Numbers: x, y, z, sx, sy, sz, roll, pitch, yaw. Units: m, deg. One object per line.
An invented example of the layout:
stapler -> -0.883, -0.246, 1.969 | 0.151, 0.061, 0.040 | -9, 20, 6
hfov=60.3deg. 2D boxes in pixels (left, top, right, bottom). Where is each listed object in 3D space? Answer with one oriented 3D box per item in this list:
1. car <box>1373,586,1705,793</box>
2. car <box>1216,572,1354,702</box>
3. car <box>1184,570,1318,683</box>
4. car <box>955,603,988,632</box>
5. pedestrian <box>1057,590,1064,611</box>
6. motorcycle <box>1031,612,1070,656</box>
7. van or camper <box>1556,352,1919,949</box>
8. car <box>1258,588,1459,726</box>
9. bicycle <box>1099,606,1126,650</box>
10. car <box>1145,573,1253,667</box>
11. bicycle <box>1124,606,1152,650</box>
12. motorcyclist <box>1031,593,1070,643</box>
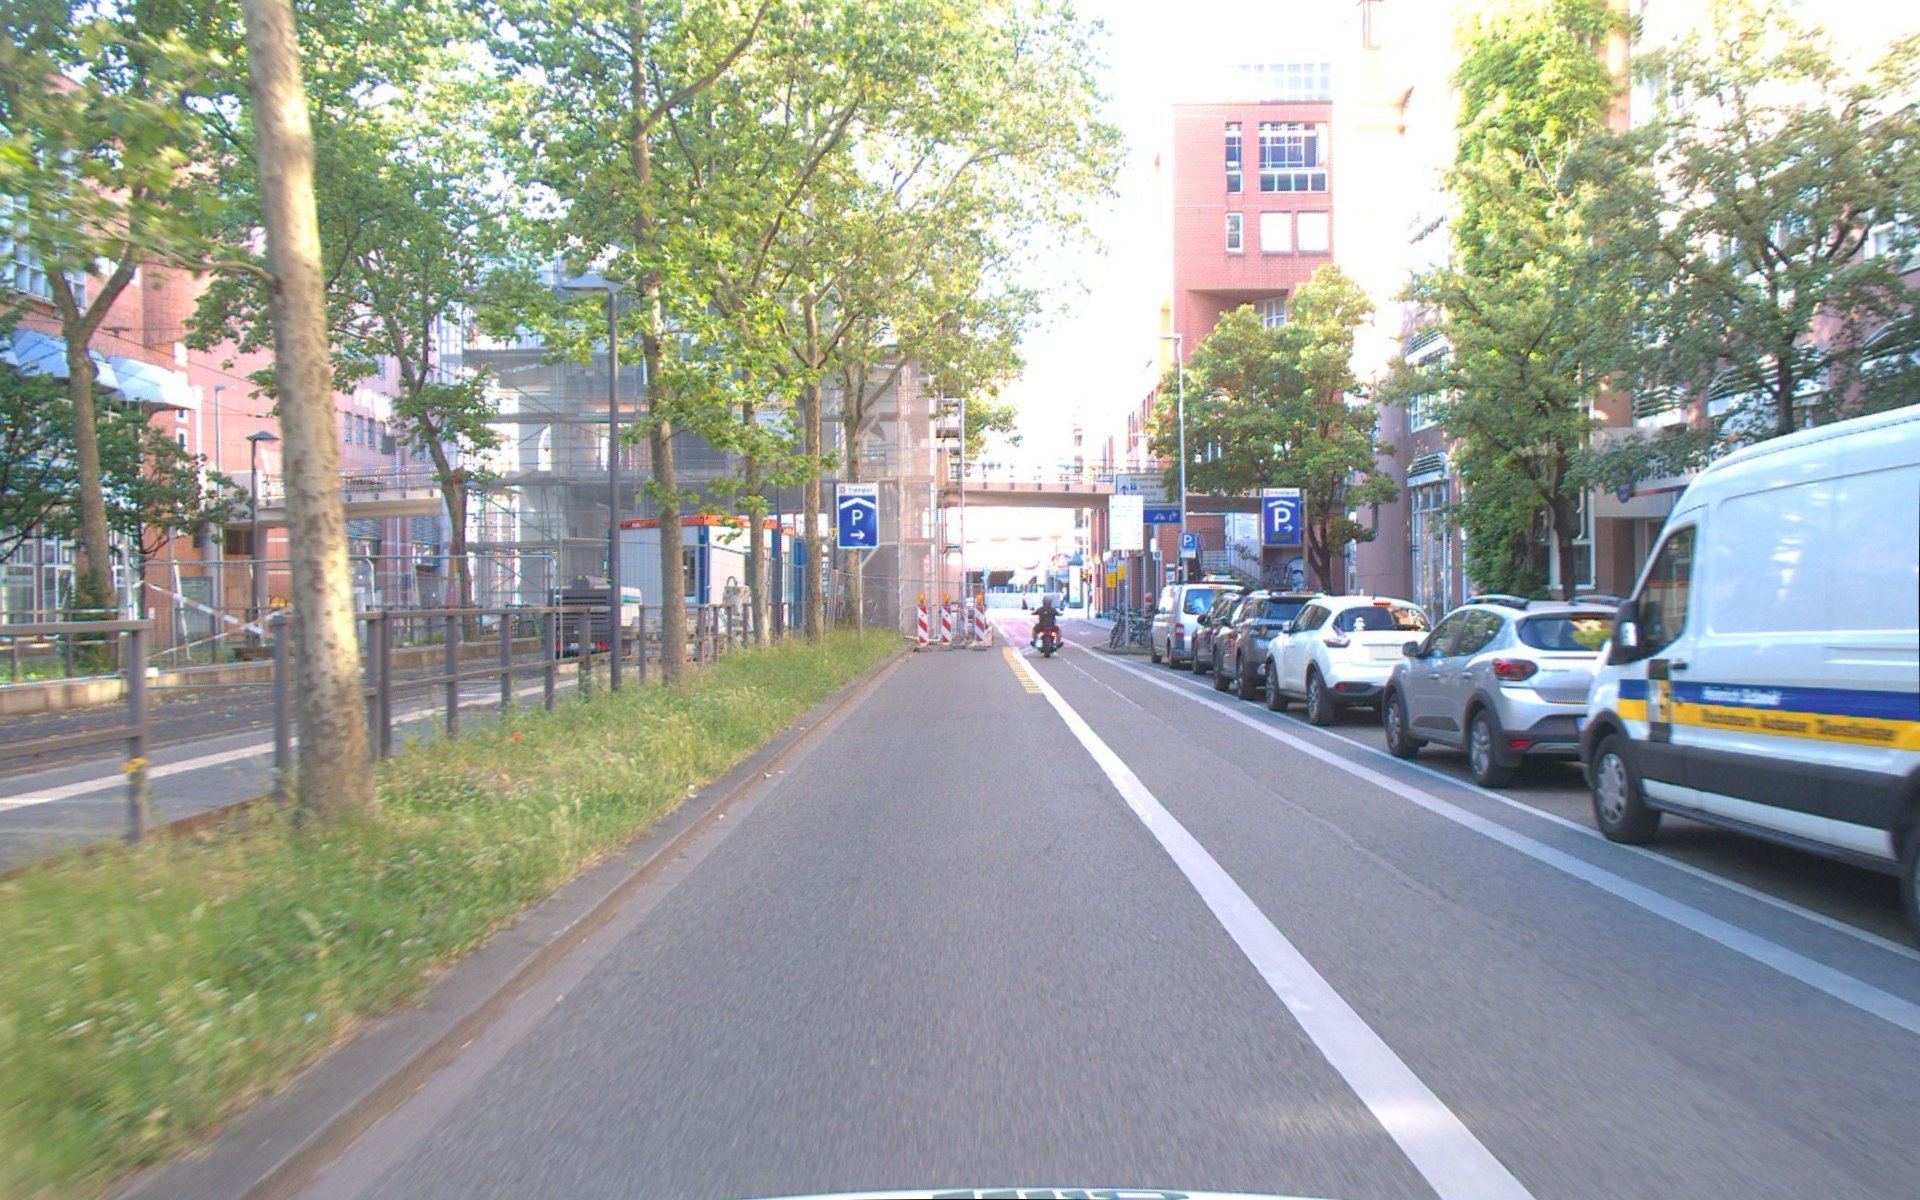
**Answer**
car -> 5.094, 0.706, 15.091 | 1.587, 1.631, 3.773 | -1, 0, -2
car -> 5.080, 0.537, 26.270 | 1.586, 1.898, 3.775 | -1, 0, 2
car -> 5.663, 0.478, 32.636 | 1.798, 2.049, 4.387 | -1, 0, -1
car -> 0.690, 1.081, 104.739 | 1.815, 1.747, 3.997 | -1, 0, -4
pedestrian -> 9.427, 0.027, 155.151 | 0.530, 1.914, 0.529 | 0, 0, 12
motorcycle -> 2.406, 0.895, 43.852 | 0.996, 1.116, 2.009 | 0, 0, 4
van or camper -> 5.154, 0.205, 8.573 | 2.007, 2.585, 5.772 | -1, 0, 0
car -> 5.111, 0.674, 21.666 | 1.587, 1.638, 3.773 | -1, 0, -2
bicycle -> 4.597, 0.828, 49.970 | 0.650, 1.256, 2.228 | -1, 0, 1
car -> 5.483, 0.422, 38.385 | 1.798, 2.049, 4.387 | -1, 0, -1
bicycle -> 5.367, 0.832, 49.938 | 0.650, 1.256, 2.228 | -1, 0, 1
motorcyclist -> 2.406, 0.476, 43.940 | 0.990, 1.285, 0.774 | 2, 0, 4
